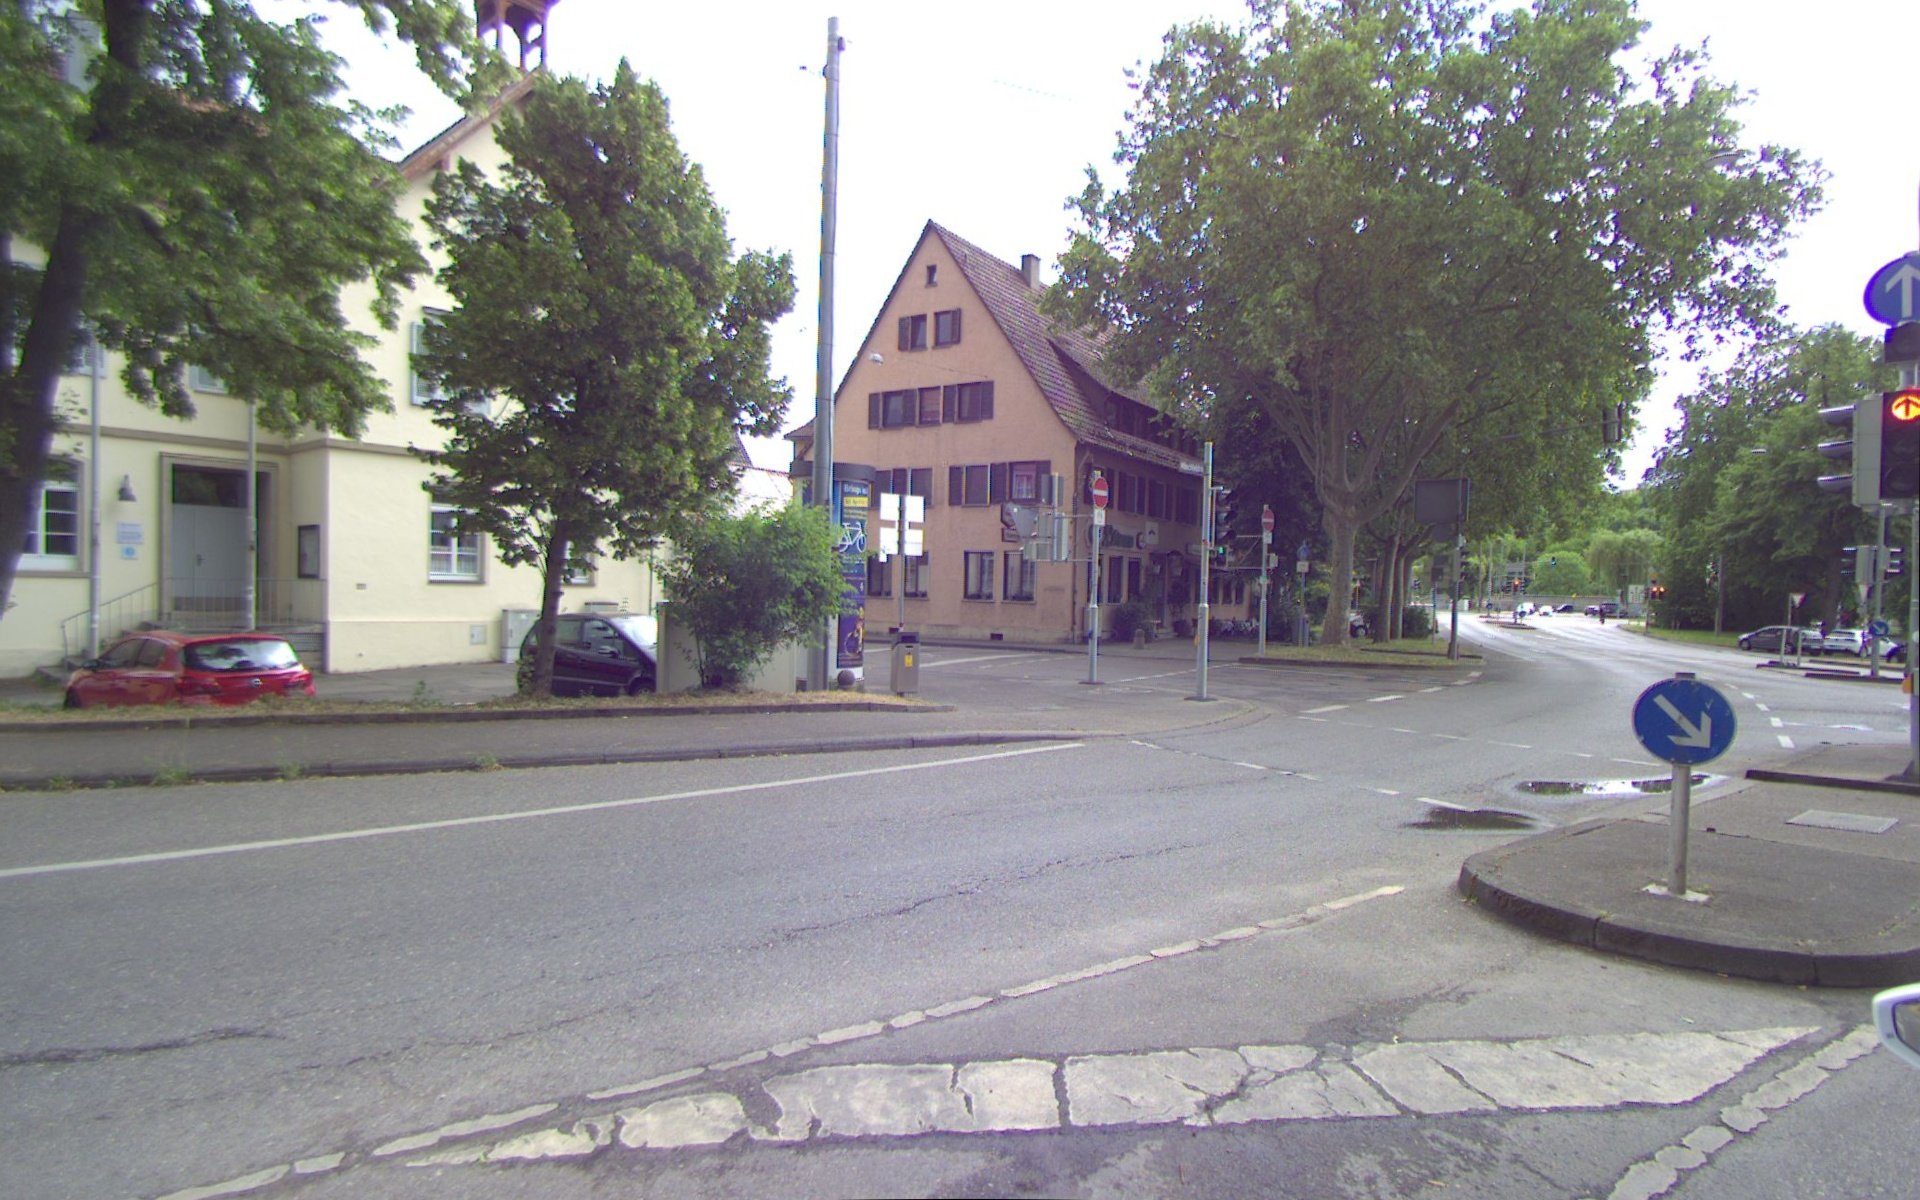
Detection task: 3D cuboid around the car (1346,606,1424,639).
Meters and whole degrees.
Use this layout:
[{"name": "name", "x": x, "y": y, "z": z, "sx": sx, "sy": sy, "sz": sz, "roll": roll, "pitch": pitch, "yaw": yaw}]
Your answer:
[{"name": "car", "x": 24.000, "y": 1.256, "z": 56.708, "sx": 3.924, "sy": 1.706, "sz": 1.998, "roll": 1, "pitch": 0, "yaw": 25}]

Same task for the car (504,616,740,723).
[{"name": "car", "x": -5.531, "y": 1.057, "z": 16.444, "sx": 3.507, "sy": 1.459, "sz": 1.644, "roll": 2, "pitch": 0, "yaw": 26}]

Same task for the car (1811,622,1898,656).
[{"name": "car", "x": 47.465, "y": 2.042, "z": 53.325, "sx": 3.696, "sy": 1.662, "sz": 1.859, "roll": 2, "pitch": 0, "yaw": -19}]

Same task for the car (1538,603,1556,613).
[{"name": "car", "x": 90.704, "y": 1.204, "z": 155.258, "sx": 1.469, "sy": 1.436, "sz": 3.028, "roll": 3, "pitch": 0, "yaw": 12}]

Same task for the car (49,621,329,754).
[{"name": "car", "x": -10.261, "y": 1.053, "z": 13.334, "sx": 3.653, "sy": 1.401, "sz": 1.659, "roll": 2, "pitch": 0, "yaw": 30}]

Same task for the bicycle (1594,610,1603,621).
[{"name": "bicycle", "x": 59.886, "y": 1.482, "z": 94.248, "sx": 0.548, "sy": 0.971, "sz": 2.029, "roll": 2, "pitch": 0, "yaw": 30}]

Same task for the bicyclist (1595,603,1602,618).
[{"name": "bicyclist", "x": 59.934, "y": 1.011, "z": 94.270, "sx": 0.532, "sy": 1.359, "sz": 0.713, "roll": 2, "pitch": 0, "yaw": 30}]

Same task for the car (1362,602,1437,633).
[{"name": "car", "x": 25.732, "y": 1.012, "z": 58.784, "sx": 3.924, "sy": 1.706, "sz": 1.998, "roll": 1, "pitch": 0, "yaw": 25}]

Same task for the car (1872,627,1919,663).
[{"name": "car", "x": 39.449, "y": 1.864, "z": 40.764, "sx": 1.746, "sy": 1.370, "sz": 3.326, "roll": 2, "pitch": 0, "yaw": -2}]

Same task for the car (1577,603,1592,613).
[{"name": "car", "x": 107.549, "y": 1.438, "z": 172.916, "sx": 1.964, "sy": 1.617, "sz": 3.993, "roll": 2, "pitch": 0, "yaw": 30}]

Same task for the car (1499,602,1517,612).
[{"name": "car", "x": 85.422, "y": 1.065, "z": 156.559, "sx": 1.553, "sy": 1.506, "sz": 3.337, "roll": 3, "pitch": 0, "yaw": 12}]

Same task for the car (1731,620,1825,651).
[{"name": "car", "x": 43.821, "y": 1.881, "z": 53.906, "sx": 1.592, "sy": 1.485, "sz": 3.778, "roll": 2, "pitch": 0, "yaw": -11}]
